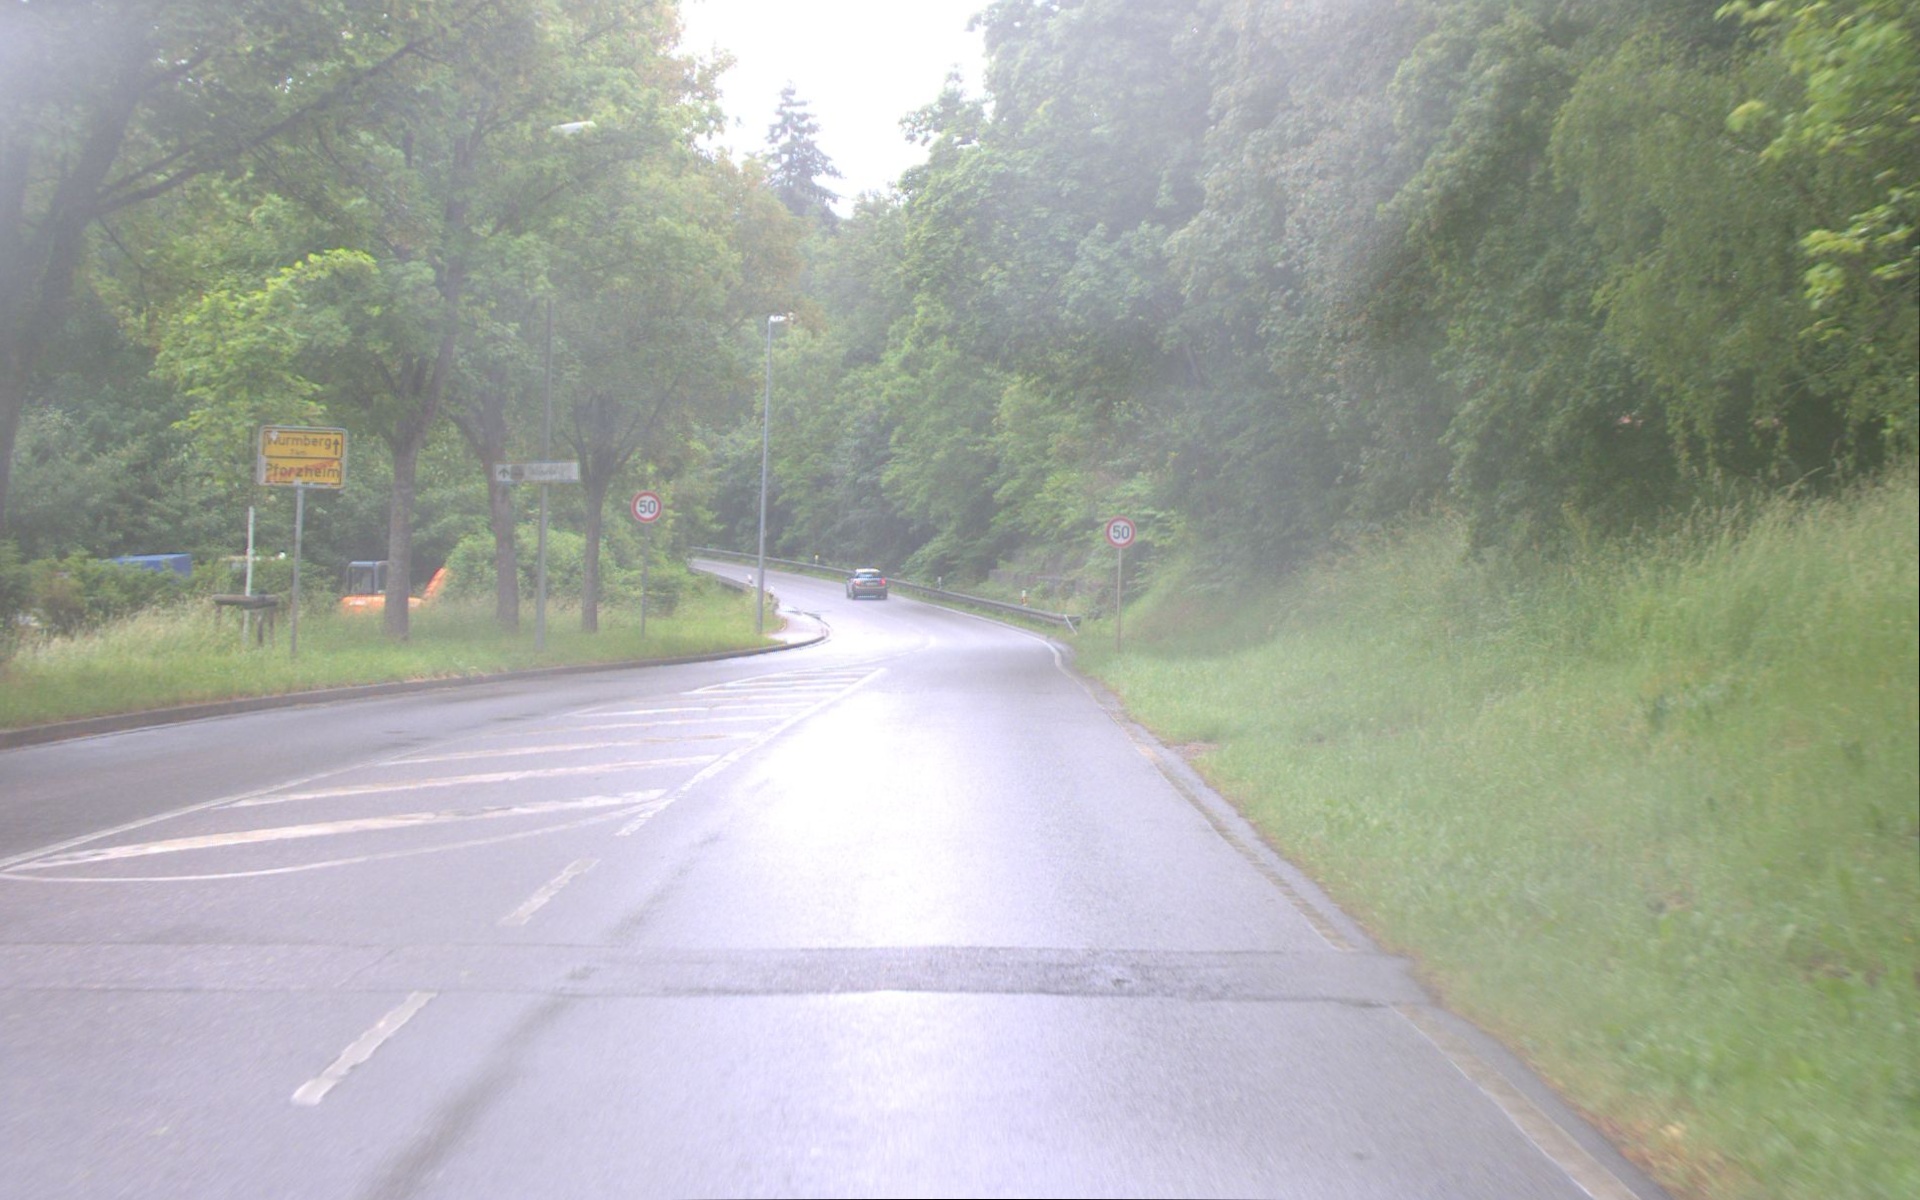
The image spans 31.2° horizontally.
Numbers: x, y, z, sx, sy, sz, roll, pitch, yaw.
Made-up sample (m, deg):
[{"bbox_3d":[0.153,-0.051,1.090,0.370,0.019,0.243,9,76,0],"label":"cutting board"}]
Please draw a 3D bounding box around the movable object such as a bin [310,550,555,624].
[{"bbox_3d":[-14.144,-0.335,92.848,1.849,1.901,7.893,1,0,31],"label":"movable object such as a bin"}]

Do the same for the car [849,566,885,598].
[{"bbox_3d":[-4.614,-0.890,169.941,1.736,1.505,4.000,-1,1,-2],"label":"car"}]

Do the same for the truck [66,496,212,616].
[{"bbox_3d":[-17.806,-0.974,74.751,1.993,2.449,5.223,2,1,-2],"label":"truck"}]
